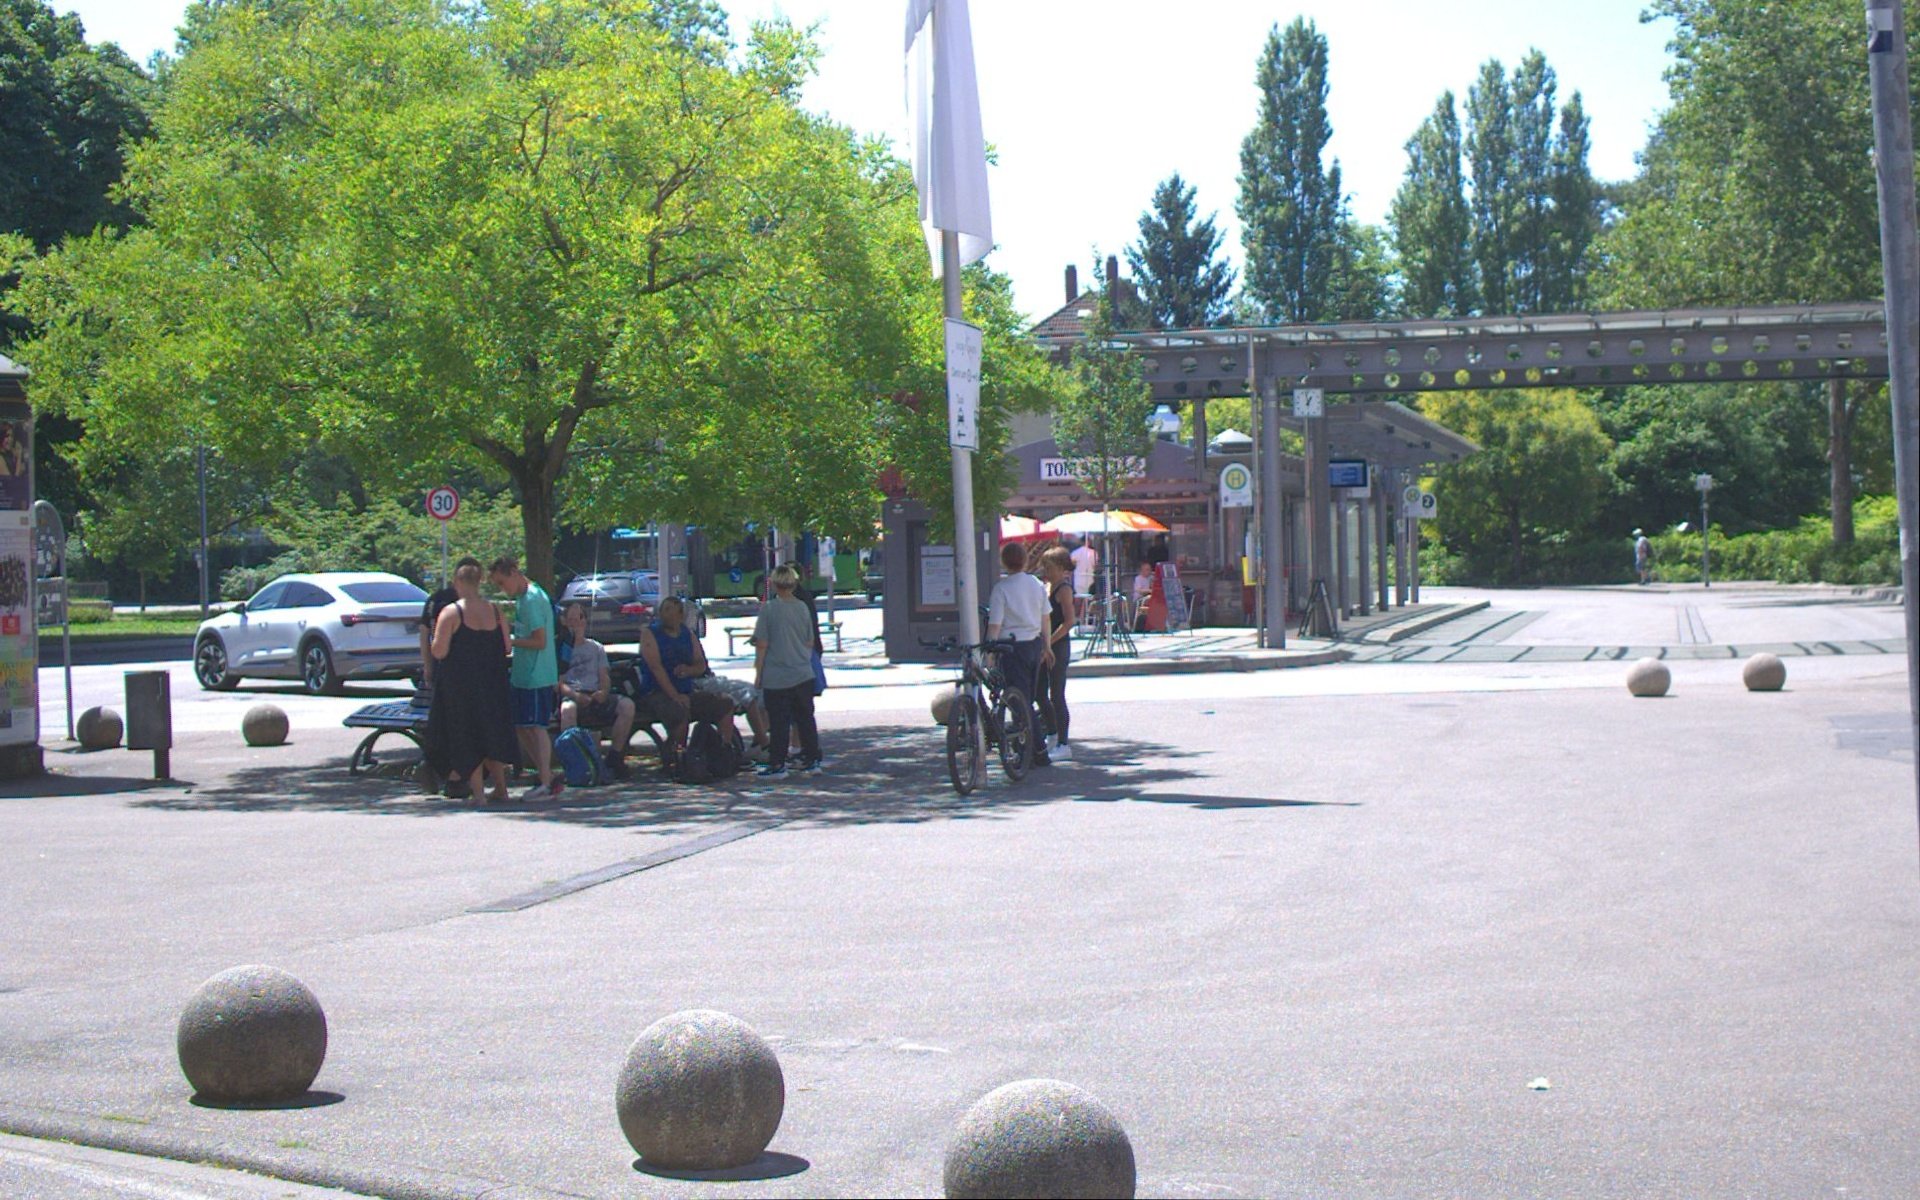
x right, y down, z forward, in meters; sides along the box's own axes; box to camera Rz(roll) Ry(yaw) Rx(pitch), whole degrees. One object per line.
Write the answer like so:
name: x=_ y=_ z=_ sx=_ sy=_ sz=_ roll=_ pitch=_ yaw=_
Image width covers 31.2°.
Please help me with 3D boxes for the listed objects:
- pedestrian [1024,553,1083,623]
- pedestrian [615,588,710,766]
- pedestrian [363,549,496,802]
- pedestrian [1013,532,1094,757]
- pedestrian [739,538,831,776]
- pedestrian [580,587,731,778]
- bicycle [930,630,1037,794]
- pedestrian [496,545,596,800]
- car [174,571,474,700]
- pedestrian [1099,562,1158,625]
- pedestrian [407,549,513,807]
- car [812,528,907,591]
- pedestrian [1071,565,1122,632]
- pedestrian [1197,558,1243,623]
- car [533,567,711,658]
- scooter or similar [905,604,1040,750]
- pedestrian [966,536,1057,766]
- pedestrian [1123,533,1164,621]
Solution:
pedestrian: x=1.778 y=-0.224 z=65.521 sx=0.892 sy=1.308 sz=0.689 roll=-2 pitch=1 yaw=-23
pedestrian: x=-2.349 y=0.599 z=27.113 sx=0.597 sy=1.360 sz=0.600 roll=-2 pitch=1 yaw=-17
pedestrian: x=-3.757 y=0.531 z=24.361 sx=0.692 sy=1.758 sz=0.585 roll=-1 pitch=1 yaw=20
pedestrian: x=0.710 y=0.331 z=26.224 sx=0.553 sy=1.679 sz=0.587 roll=-1 pitch=1 yaw=-1
pedestrian: x=-1.301 y=0.418 z=25.526 sx=0.510 sy=1.734 sz=0.571 roll=-2 pitch=1 yaw=-18
pedestrian: x=-2.301 y=0.605 z=25.888 sx=0.909 sy=1.381 sz=0.944 roll=-2 pitch=1 yaw=-18
bicycle: x=0.181 y=0.760 z=23.997 sx=0.420 sy=1.056 sz=1.948 roll=-1 pitch=0 yaw=9
pedestrian: x=-2.886 y=0.493 z=23.946 sx=0.583 sy=1.734 sz=0.600 roll=-2 pitch=1 yaw=-14
car: x=-8.804 y=0.473 z=47.301 sx=1.983 sy=1.621 sz=4.777 roll=-2 pitch=1 yaw=-39
pedestrian: x=3.192 y=-0.124 z=65.122 sx=0.892 sy=1.157 sz=0.689 roll=-2 pitch=1 yaw=-23
pedestrian: x=-3.433 y=0.525 z=23.573 sx=0.625 sy=1.734 sz=0.548 roll=-2 pitch=1 yaw=-14
car: x=-3.656 y=-1.451 z=124.051 sx=2.202 sy=2.165 sz=4.883 roll=-2 pitch=1 yaw=-17
pedestrian: x=2.433 y=-0.032 z=61.173 sx=0.687 sy=1.157 sz=0.894 roll=-1 pitch=1 yaw=16
pedestrian: x=4.865 y=-0.184 z=64.290 sx=0.759 sy=1.201 sz=0.737 roll=1 pitch=0 yaw=12
car: x=-6.173 y=0.197 z=63.359 sx=1.927 sy=1.455 sz=4.723 roll=-4 pitch=0 yaw=11
scooter or similar: x=0.101 y=0.609 z=27.375 sx=1.025 sy=1.135 sz=0.294 roll=-1 pitch=0 yaw=4
pedestrian: x=0.380 y=0.371 z=25.611 sx=0.617 sy=1.679 sz=0.591 roll=-1 pitch=1 yaw=-1
pedestrian: x=3.664 y=-0.451 z=68.547 sx=0.686 sy=1.732 sz=0.707 roll=-1 pitch=0 yaw=12
